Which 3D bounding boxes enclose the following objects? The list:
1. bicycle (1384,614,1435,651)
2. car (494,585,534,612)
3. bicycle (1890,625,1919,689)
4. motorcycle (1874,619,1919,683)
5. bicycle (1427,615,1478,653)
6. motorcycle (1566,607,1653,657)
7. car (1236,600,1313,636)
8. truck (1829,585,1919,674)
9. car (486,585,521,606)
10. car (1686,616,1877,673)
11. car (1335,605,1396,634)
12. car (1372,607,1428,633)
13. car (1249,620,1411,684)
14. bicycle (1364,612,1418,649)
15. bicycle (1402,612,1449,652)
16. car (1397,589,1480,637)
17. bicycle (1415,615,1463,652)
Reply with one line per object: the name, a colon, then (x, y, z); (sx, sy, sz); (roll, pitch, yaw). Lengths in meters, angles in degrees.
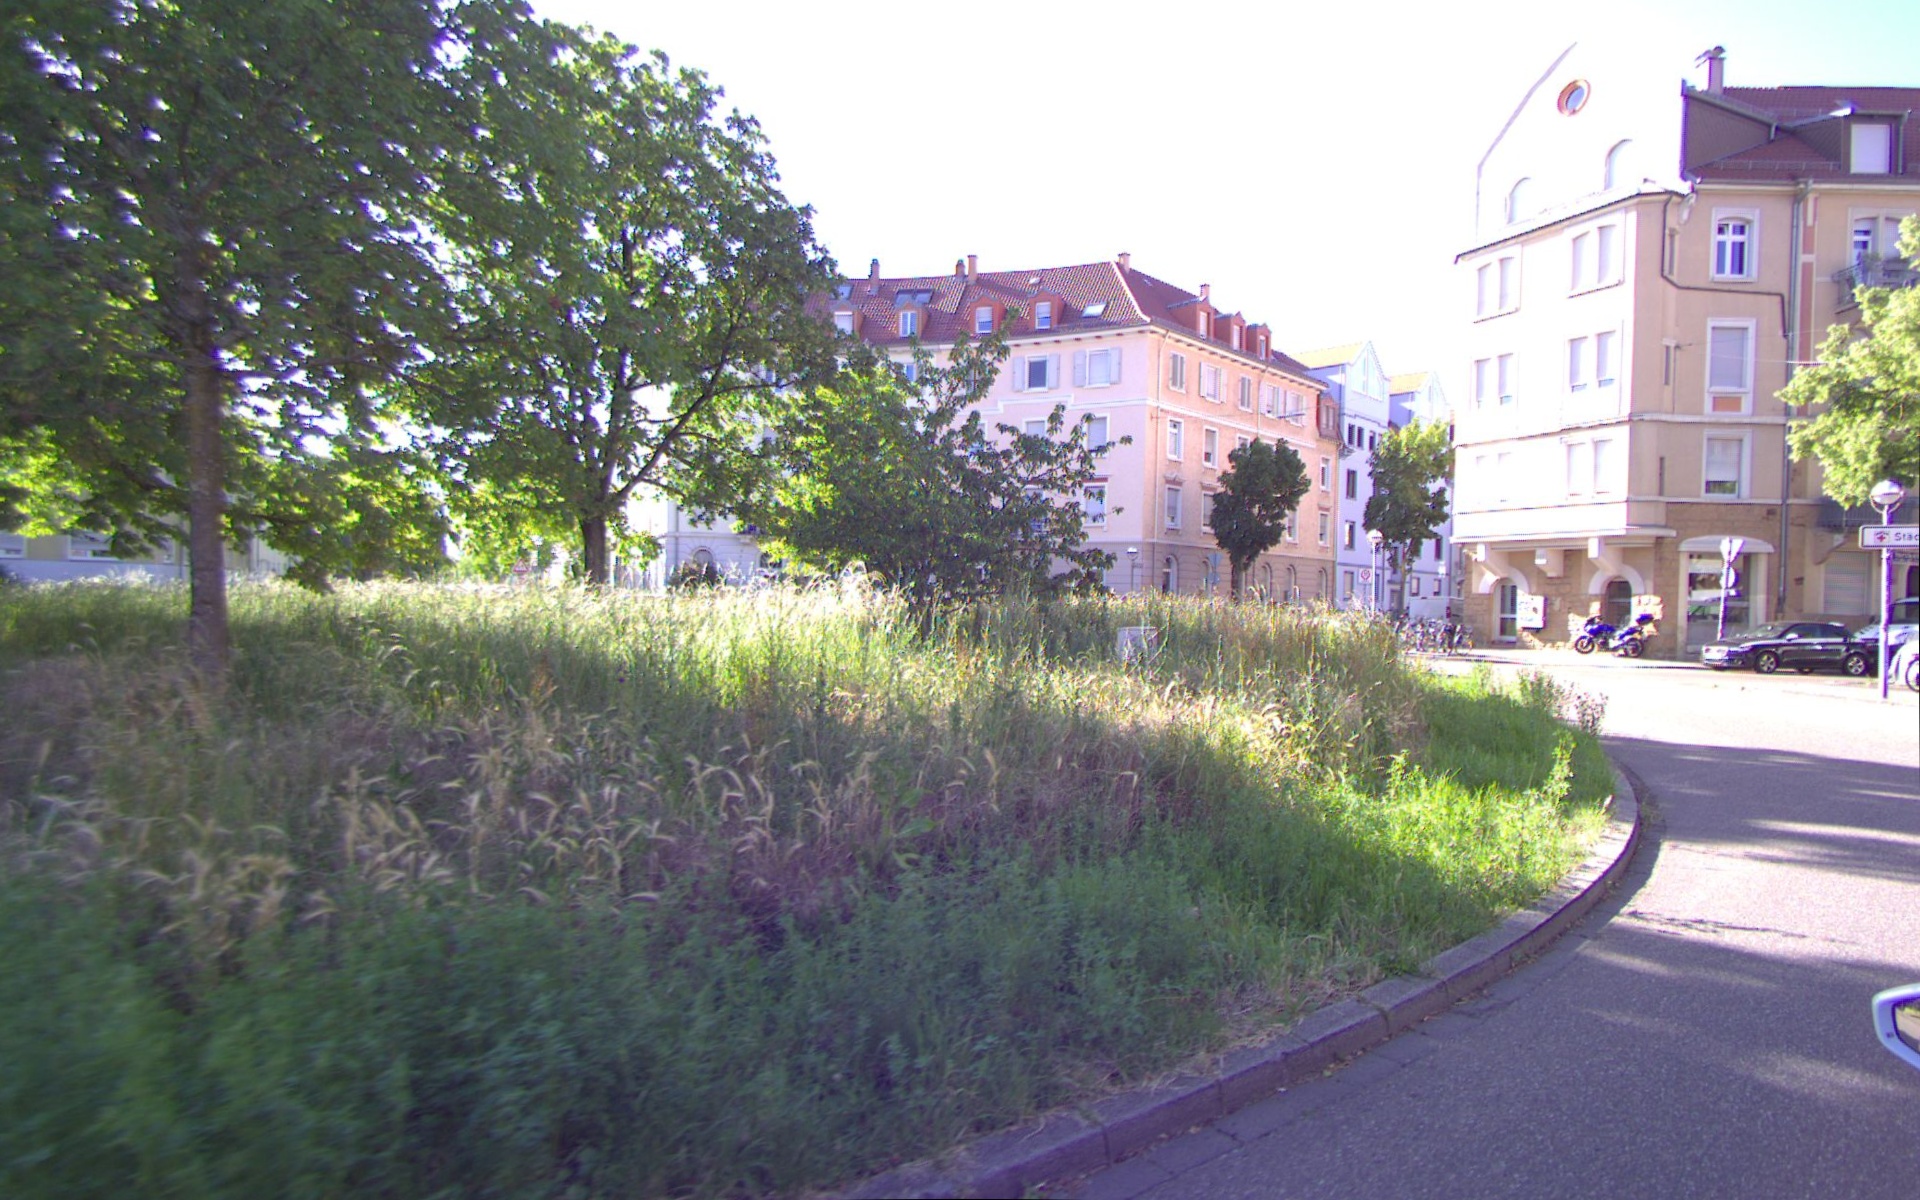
bicycle: (14.451, 1.030, 32.269); (1.676, 1.161, 0.612); (1, 0, -29)
car: (-24.582, -0.095, 55.282); (1.777, 1.432, 3.972); (1, 0, -27)
bicycle: (19.290, 1.122, 19.636); (1.646, 1.209, 0.538); (1, 2, 3)
motorcycle: (20.358, 1.085, 21.283); (0.527, 1.287, 1.712); (1, 1, 7)
bicycle: (15.220, 1.051, 31.040); (1.696, 1.138, 0.480); (1, 0, -27)
motorcycle: (20.600, 0.994, 31.925); (0.692, 1.430, 2.233); (0, 3, -29)
car: (15.534, 0.876, 49.534); (1.882, 1.664, 4.321); (2, 0, 44)
truck: (27.772, 0.857, 27.215); (6.489, 2.322, 2.140); (1, -1, 2)
car: (-29.459, -0.283, 64.752); (1.778, 1.272, 3.691); (1, 0, -28)
car: (22.112, 1.175, 27.131); (3.846, 1.408, 1.688); (1, -1, -2)
car: (23.007, 1.113, 56.964); (3.974, 1.506, 1.680); (2, 0, -43)
car: (26.374, 1.191, 60.135); (3.742, 1.506, 1.680); (2, 0, -43)
car: (9.561, 1.285, 26.285); (1.843, 1.438, 3.980); (0, 0, -21)
bicycle: (14.178, 1.007, 33.049); (1.671, 1.161, 0.635); (1, 0, -21)
bicycle: (14.742, 1.012, 31.801); (1.676, 1.207, 0.448); (1, 0, -29)
car: (20.987, 0.566, 43.980); (2.110, 1.934, 4.538); (2, 0, 41)
bicycle: (15.001, 1.047, 31.460); (1.676, 1.138, 0.480); (1, 0, -29)
